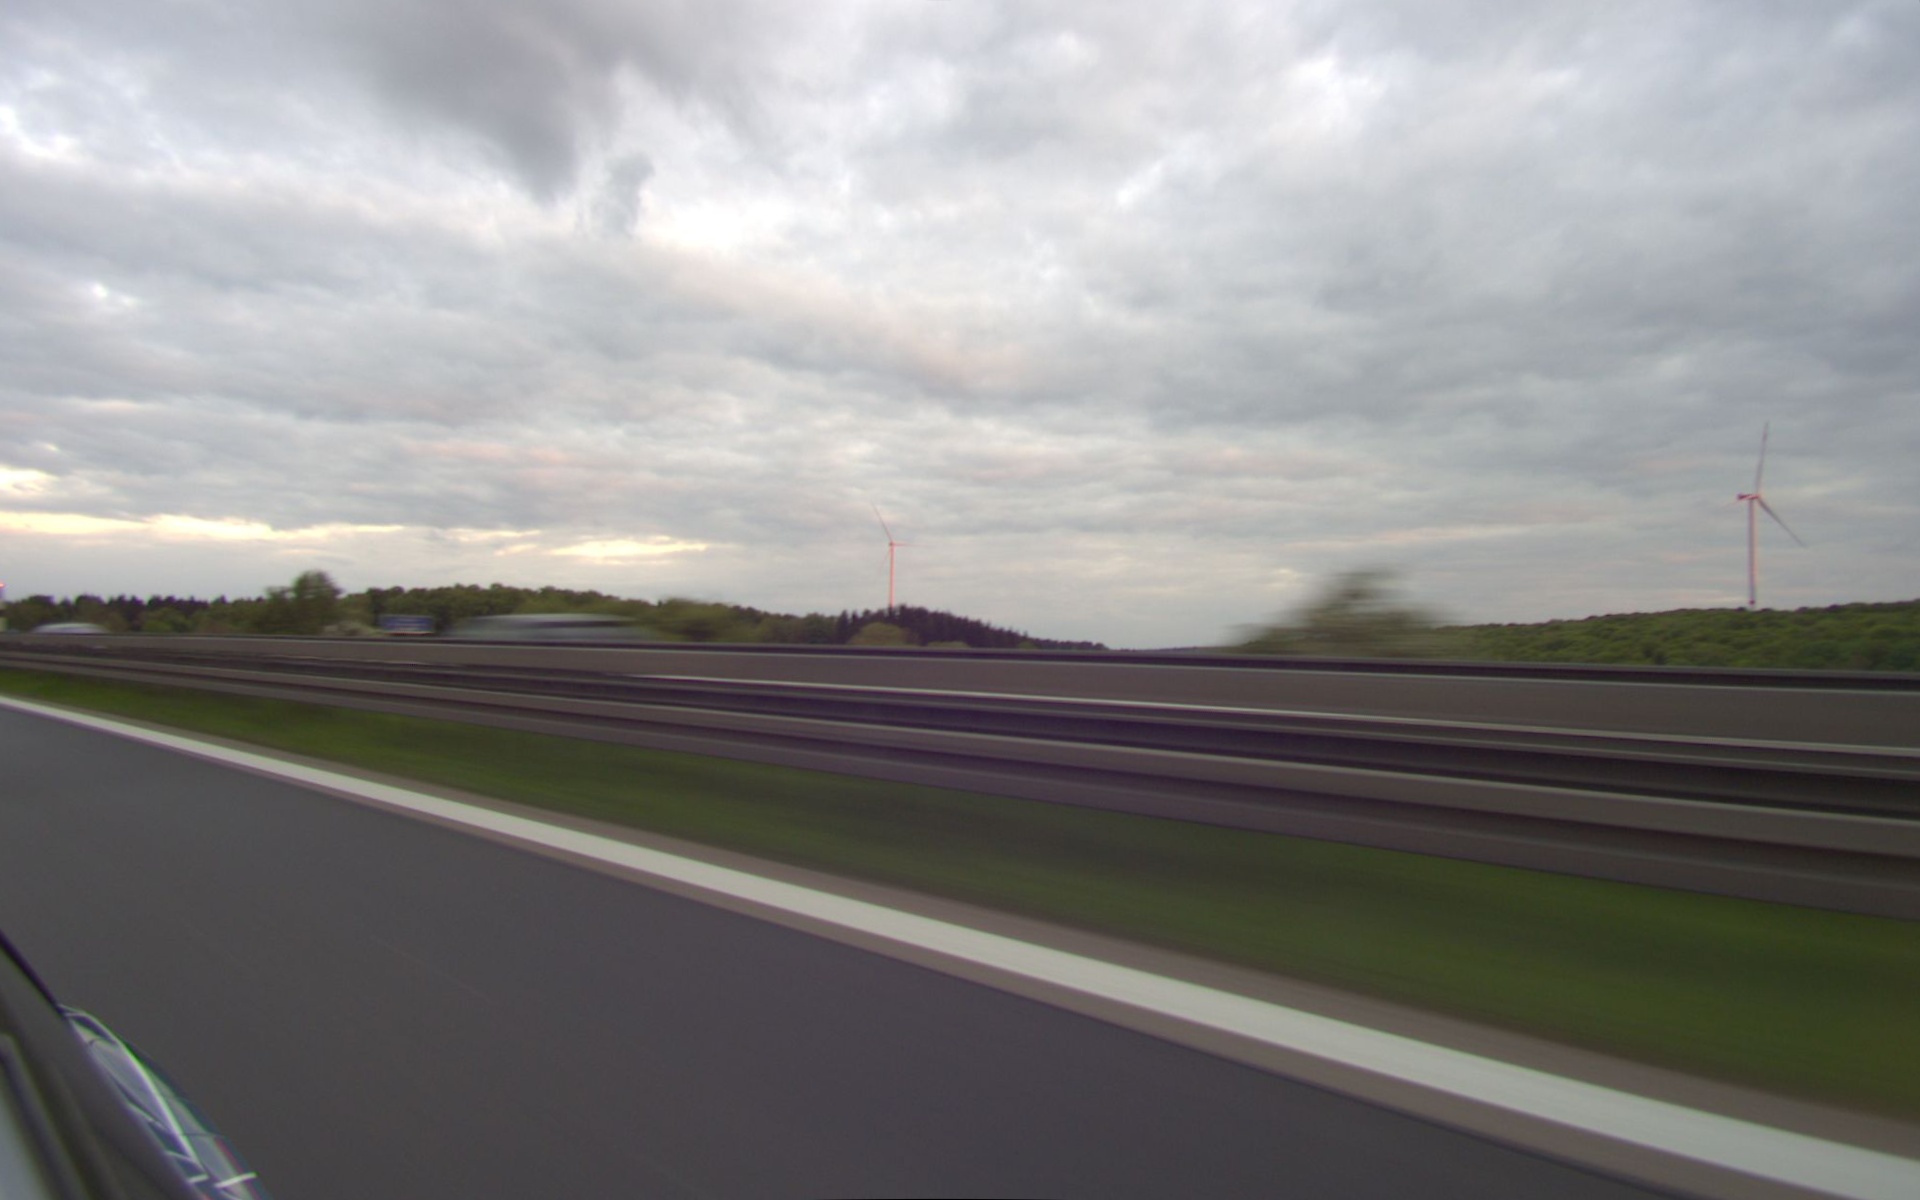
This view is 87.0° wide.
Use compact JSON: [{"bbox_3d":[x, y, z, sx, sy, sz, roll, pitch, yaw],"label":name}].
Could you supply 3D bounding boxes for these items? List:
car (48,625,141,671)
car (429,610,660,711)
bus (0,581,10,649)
[{"bbox_3d":[-31.652,1.713,36.969,3.995,1.526,1.847,-1,-1,38],"label":"car"},{"bbox_3d":[-7.520,1.041,18.150,4.400,1.608,1.824,-1,-4,37],"label":"car"},{"bbox_3d":[-64.373,0.996,64.011,14.772,4.107,3.140,-1,0,34],"label":"bus"}]
